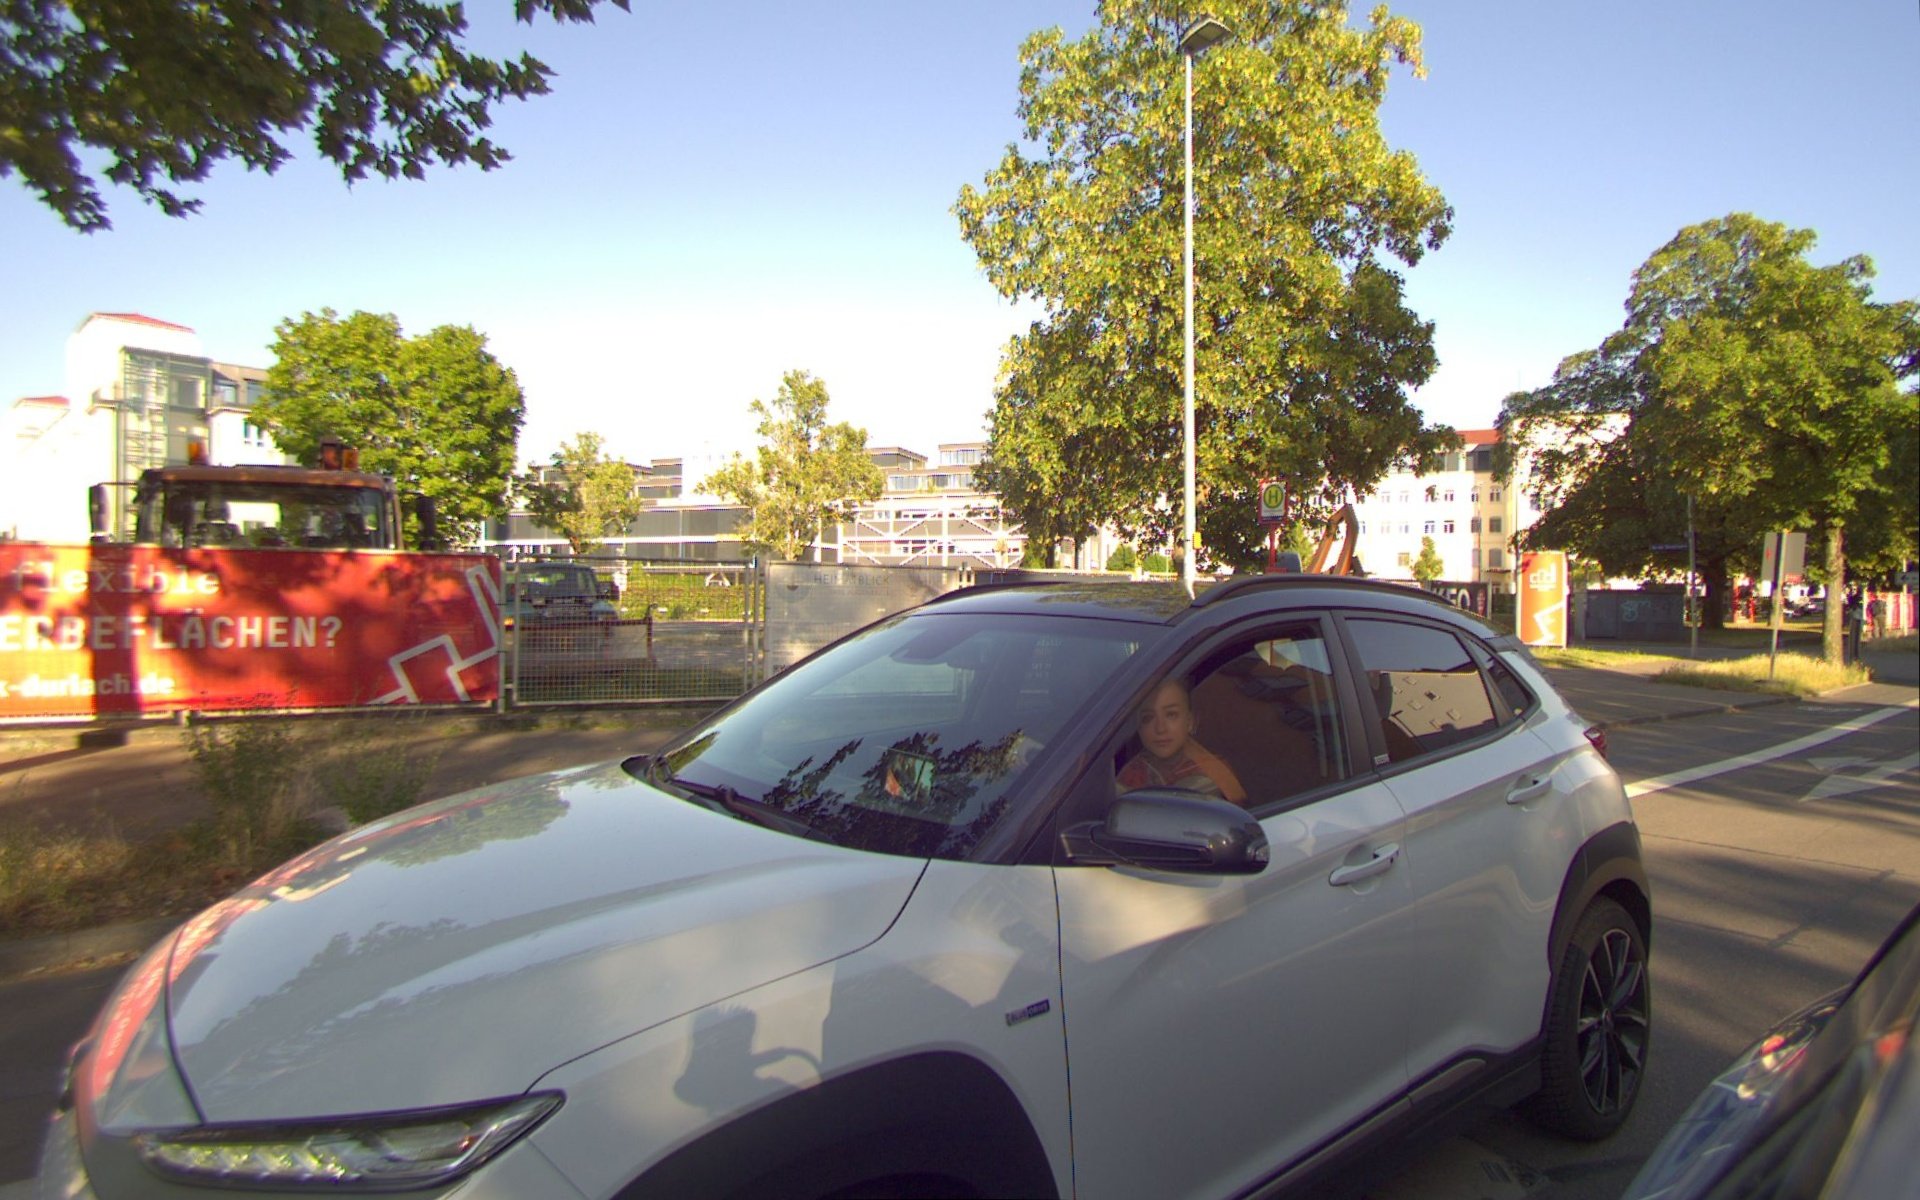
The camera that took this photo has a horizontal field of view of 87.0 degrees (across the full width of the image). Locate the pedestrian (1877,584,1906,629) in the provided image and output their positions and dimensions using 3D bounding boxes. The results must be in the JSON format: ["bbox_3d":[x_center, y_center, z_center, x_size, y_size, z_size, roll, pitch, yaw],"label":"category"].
[{"bbox_3d":[35.279,0.230,38.319,0.627,1.689,0.696,-1,0,-38],"label":"pedestrian"}]

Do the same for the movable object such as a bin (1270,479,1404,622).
[{"bbox_3d":[15.789,-1.969,42.954,3.910,5.547,6.022,-1,0,6],"label":"movable object such as a bin"}]

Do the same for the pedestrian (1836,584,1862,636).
[{"bbox_3d":[30.230,0.330,34.416,0.607,1.759,0.629,-1,0,44],"label":"pedestrian"}]

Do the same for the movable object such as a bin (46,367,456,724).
[{"bbox_3d":[-8.144,-0.502,12.266,3.154,3.087,6.295,-1,0,-31],"label":"movable object such as a bin"}]

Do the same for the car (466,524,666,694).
[{"bbox_3d":[-5.416,0.074,13.503,2.001,1.851,4.612,-1,0,-27],"label":"car"}]

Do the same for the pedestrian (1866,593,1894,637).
[{"bbox_3d":[30.578,0.491,33.626,0.628,1.452,0.609,-1,0,-40],"label":"pedestrian"}]

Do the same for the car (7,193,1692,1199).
[{"bbox_3d":[0.219,0.560,2.715,3.893,1.618,1.893,2,-2,-39],"label":"car"}]
